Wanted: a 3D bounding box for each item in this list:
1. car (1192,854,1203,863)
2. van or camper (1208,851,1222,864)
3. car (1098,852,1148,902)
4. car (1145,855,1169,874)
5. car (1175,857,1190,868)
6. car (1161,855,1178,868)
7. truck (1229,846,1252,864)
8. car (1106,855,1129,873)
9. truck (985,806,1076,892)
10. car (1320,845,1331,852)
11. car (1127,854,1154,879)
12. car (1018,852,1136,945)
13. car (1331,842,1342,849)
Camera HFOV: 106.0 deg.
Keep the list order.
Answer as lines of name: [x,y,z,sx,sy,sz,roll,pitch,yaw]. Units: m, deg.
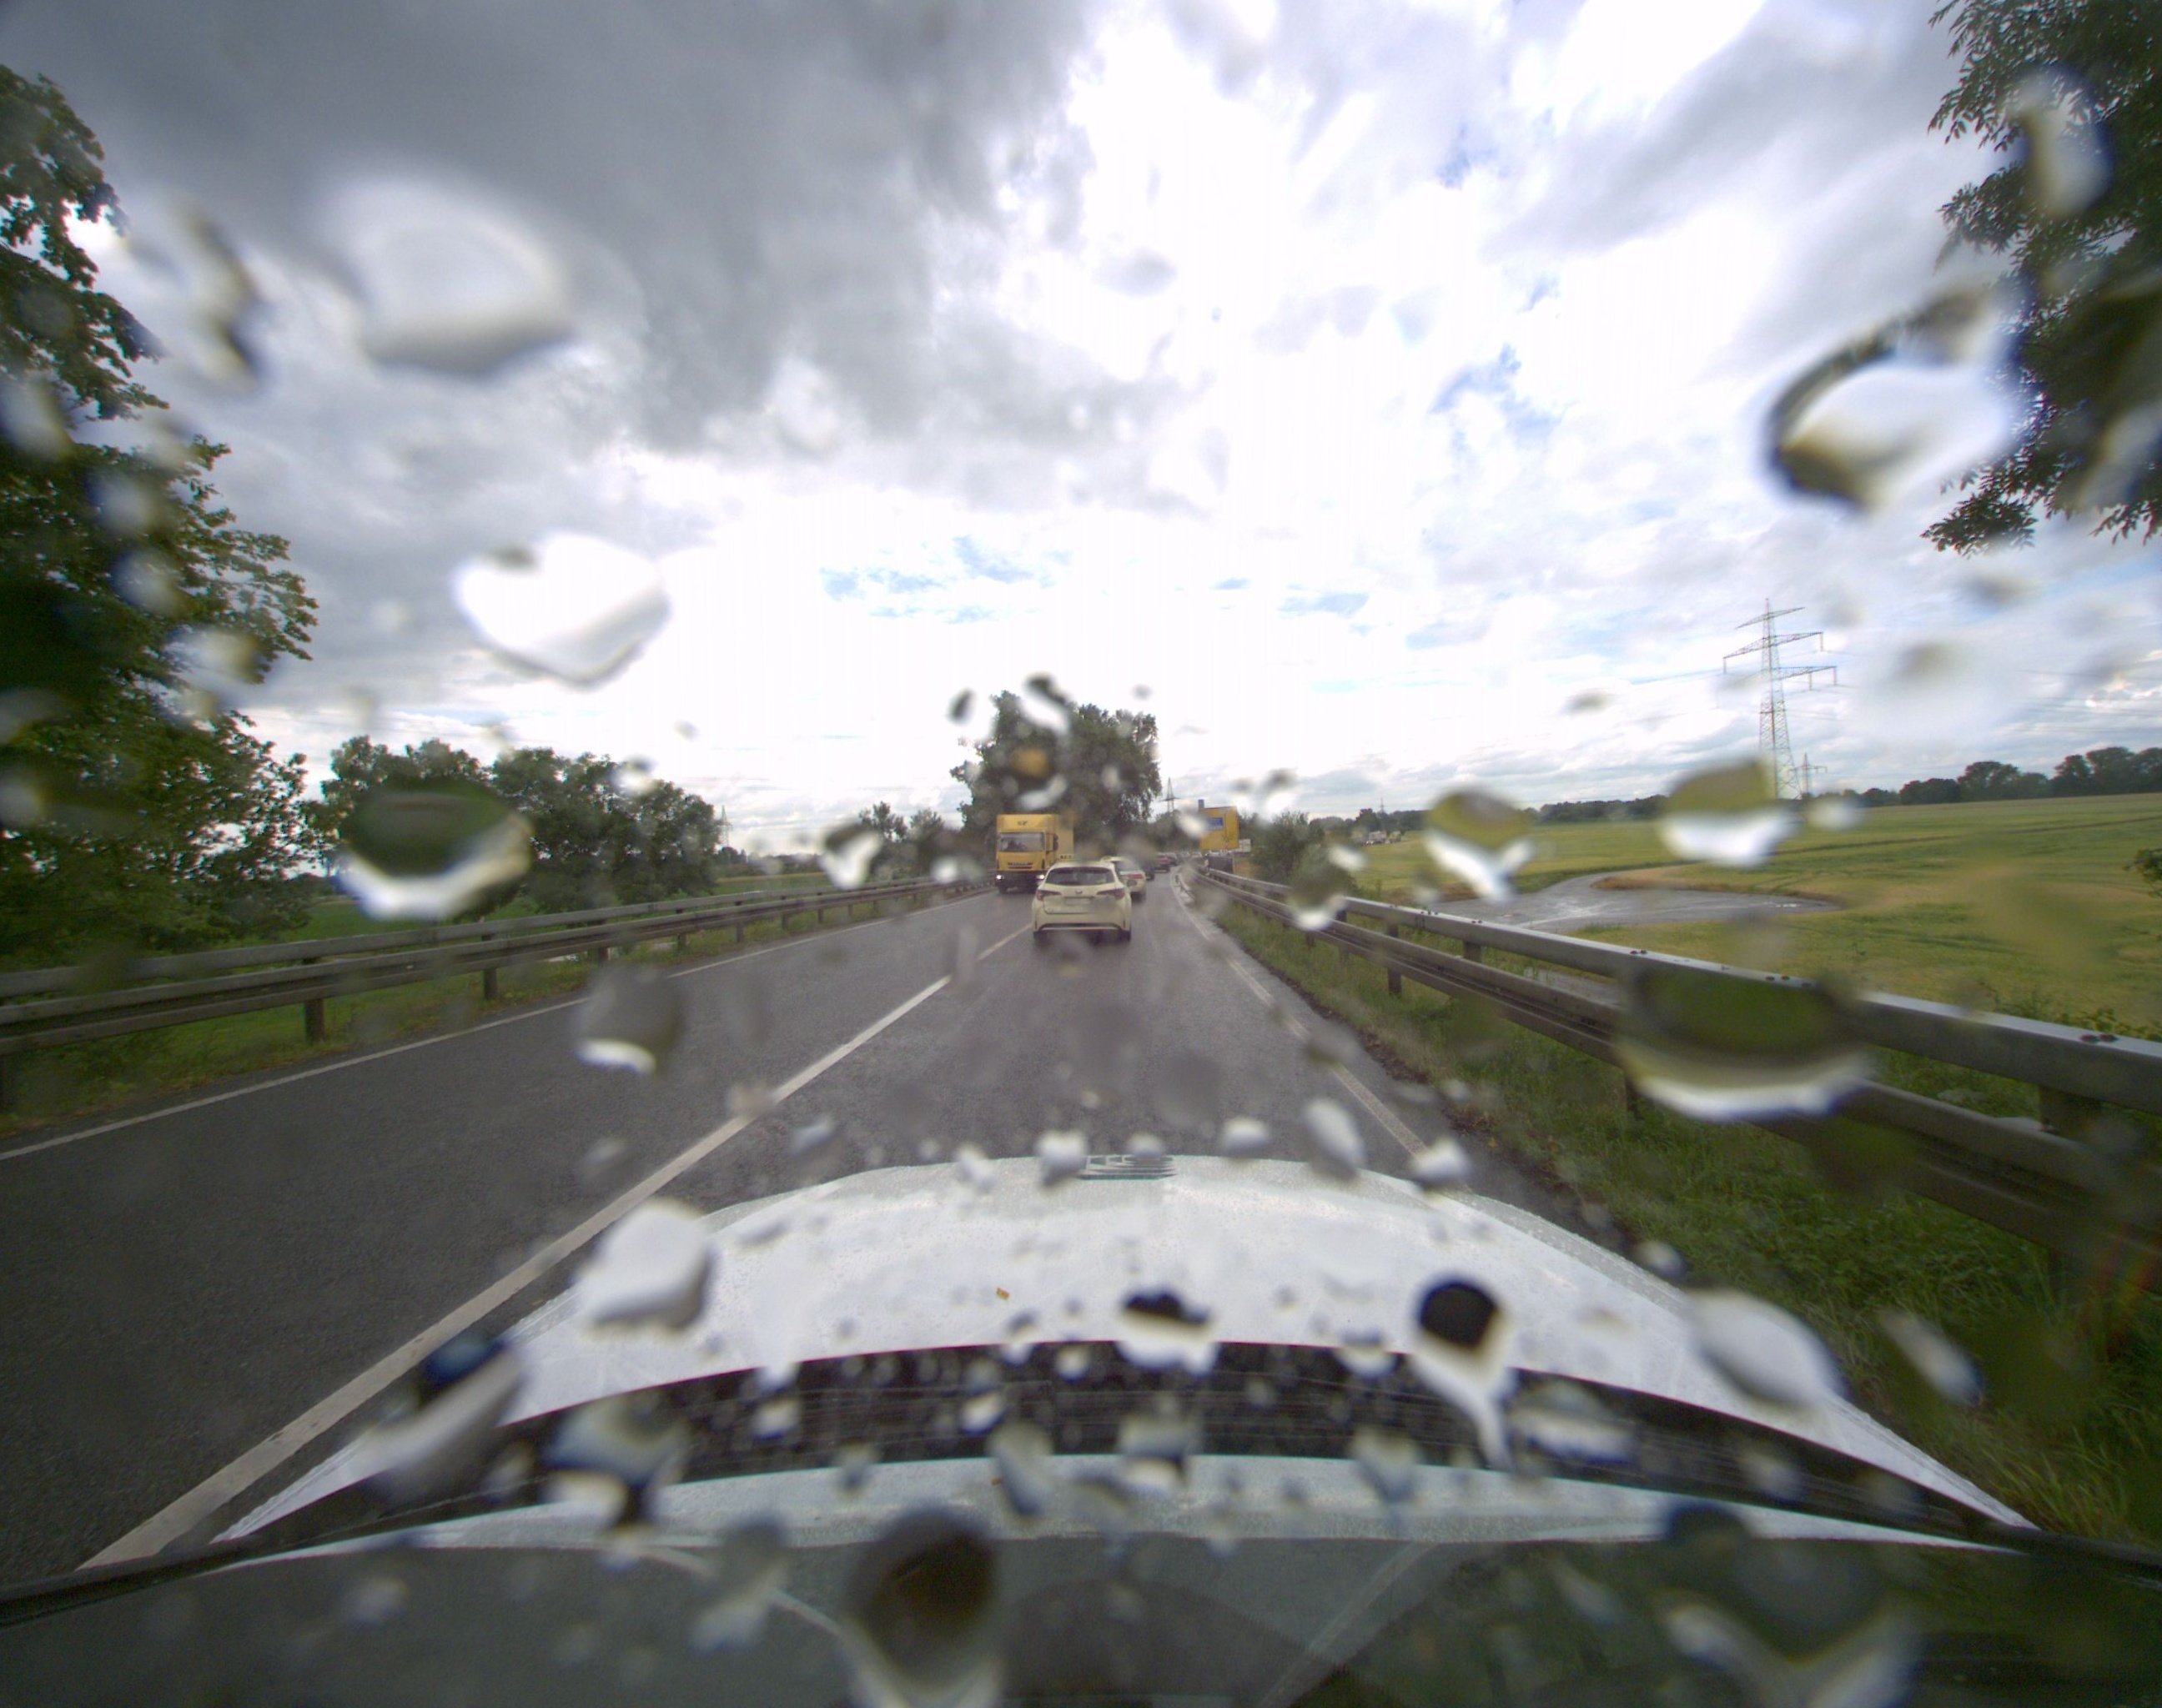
car: [17.574,0.735,122.705,1.473,1.309,3.487,-1,0,10]
van or camper: [23.605,0.675,143.207,1.979,2.254,4.015,-1,-1,14]
car: [1.500,0.740,27.965,1.571,1.572,3.686,-1,0,5]
car: [6.041,0.791,64.570,1.655,1.464,3.485,-1,0,8]
car: [13.080,1.062,105.314,1.472,1.309,3.490,-1,0,14]
car: [10.040,0.892,92.290,1.651,1.409,3.913,-1,-1,8]
truck: [32.878,0.220,167.495,3.112,3.562,7.562,-1,-1,22]
car: [3.764,1.009,83.318,1.736,1.653,4.536,-1,0,9]
truck: [-2.068,-0.186,37.231,2.757,3.429,9.200,0,0,5]
car: [69.013,-1.559,229.636,1.801,1.838,4.014,-1,-1,32]
car: [3.532,0.714,47.838,1.498,1.437,3.361,-1,0,6]
car: [0.067,0.764,15.852,1.897,1.537,4.167,-1,0,5]
car: [73.995,-2.369,235.820,1.974,2.014,4.025,-1,-1,33]
